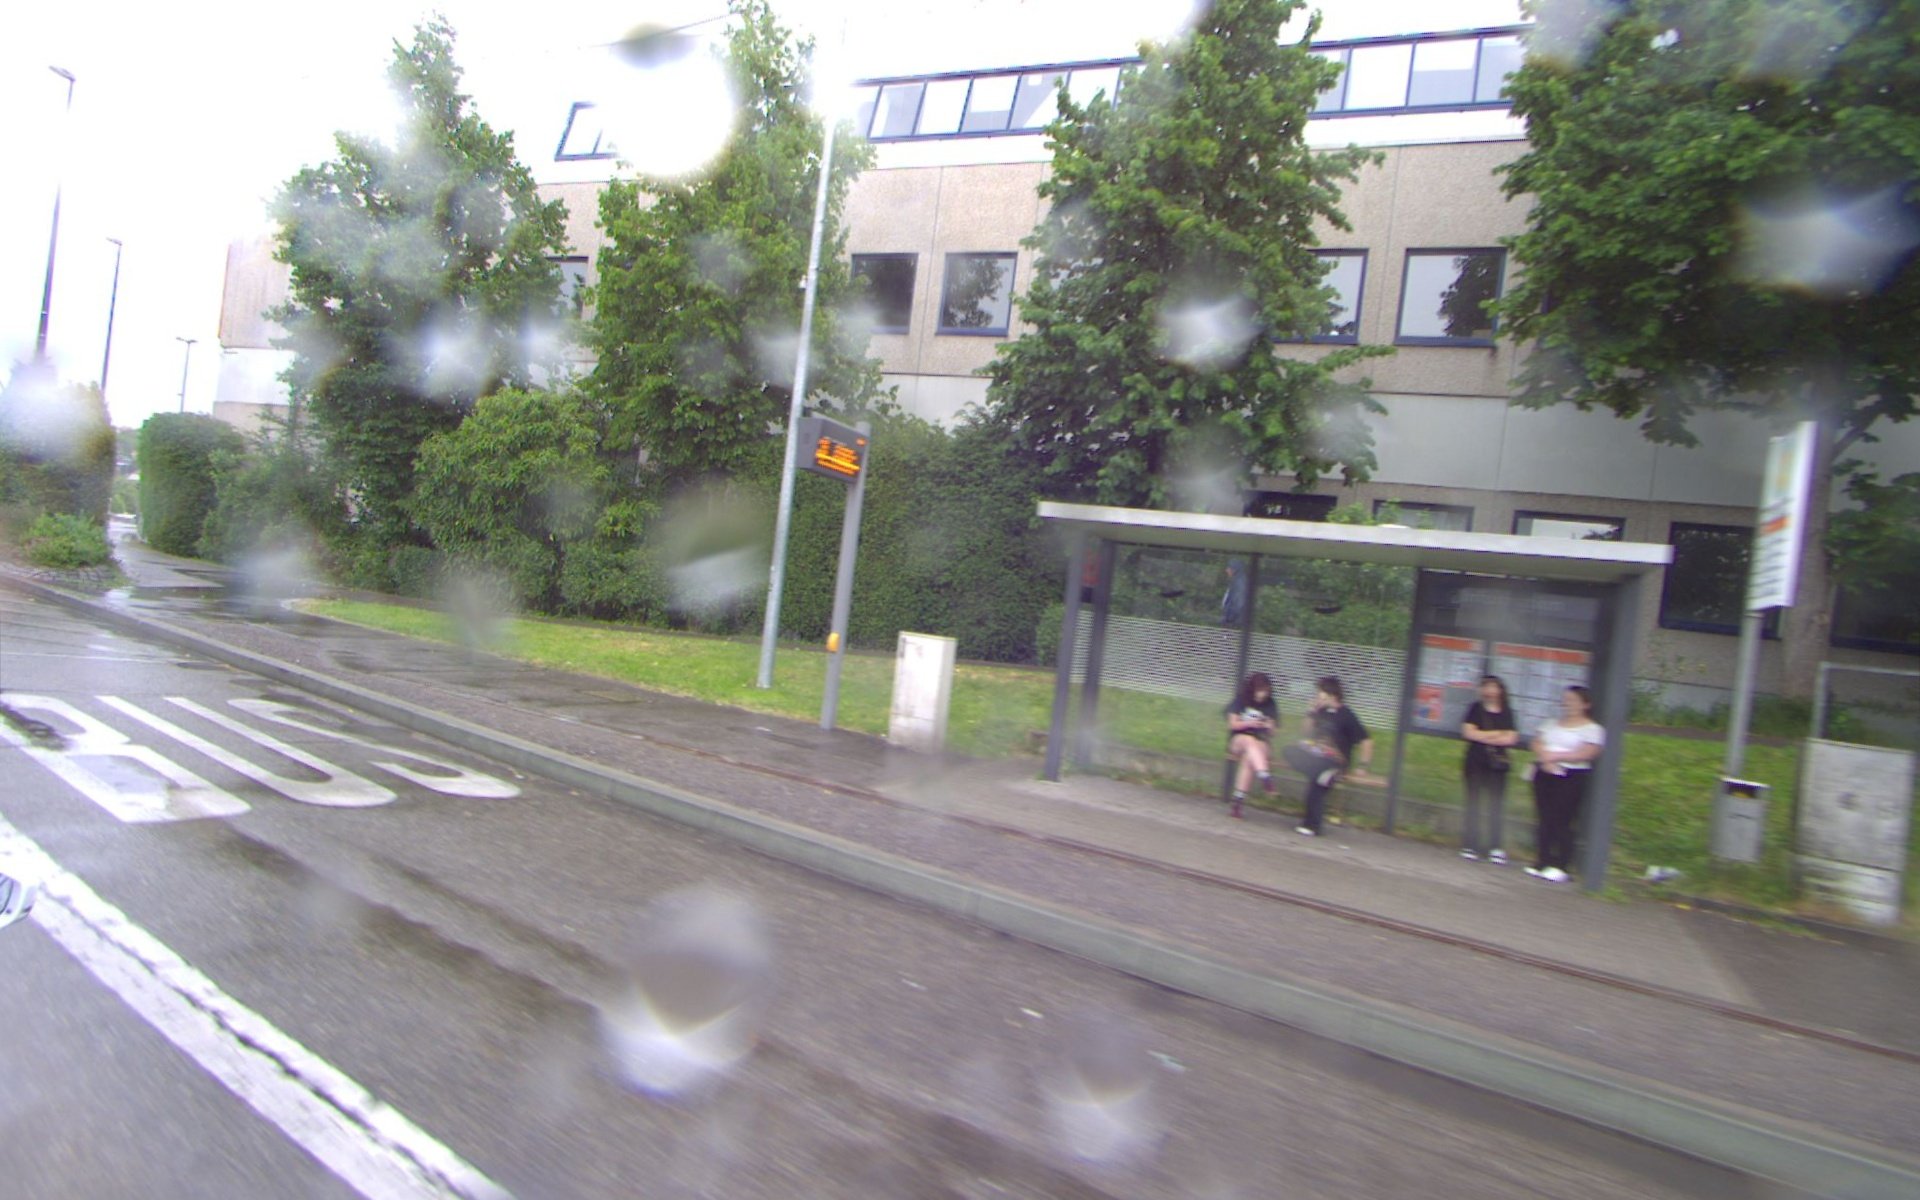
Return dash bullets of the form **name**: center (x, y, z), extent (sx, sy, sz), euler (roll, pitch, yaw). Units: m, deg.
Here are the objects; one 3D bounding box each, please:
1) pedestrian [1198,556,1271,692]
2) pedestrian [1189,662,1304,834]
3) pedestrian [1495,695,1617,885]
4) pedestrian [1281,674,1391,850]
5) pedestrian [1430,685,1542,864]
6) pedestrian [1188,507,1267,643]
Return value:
- **pedestrian**: center (3.928, 0.355, 14.381), extent (0.661, 1.819, 0.674), euler (10, 1, 22)
- **pedestrian**: center (2.530, 1.249, 8.822), extent (0.679, 1.298, 1.031), euler (8, 2, 24)
- **pedestrian**: center (4.715, 1.491, 7.981), extent (0.406, 1.383, 0.540), euler (6, 3, -22)
- **pedestrian**: center (3.264, 1.349, 8.689), extent (0.679, 1.298, 1.031), euler (8, 2, 24)
- **pedestrian**: center (4.383, 1.443, 8.403), extent (0.406, 1.383, 0.540), euler (6, 3, -23)
- **pedestrian**: center (3.906, -0.348, 14.650), extent (0.782, 1.817, 0.849), euler (7, 0, 24)
